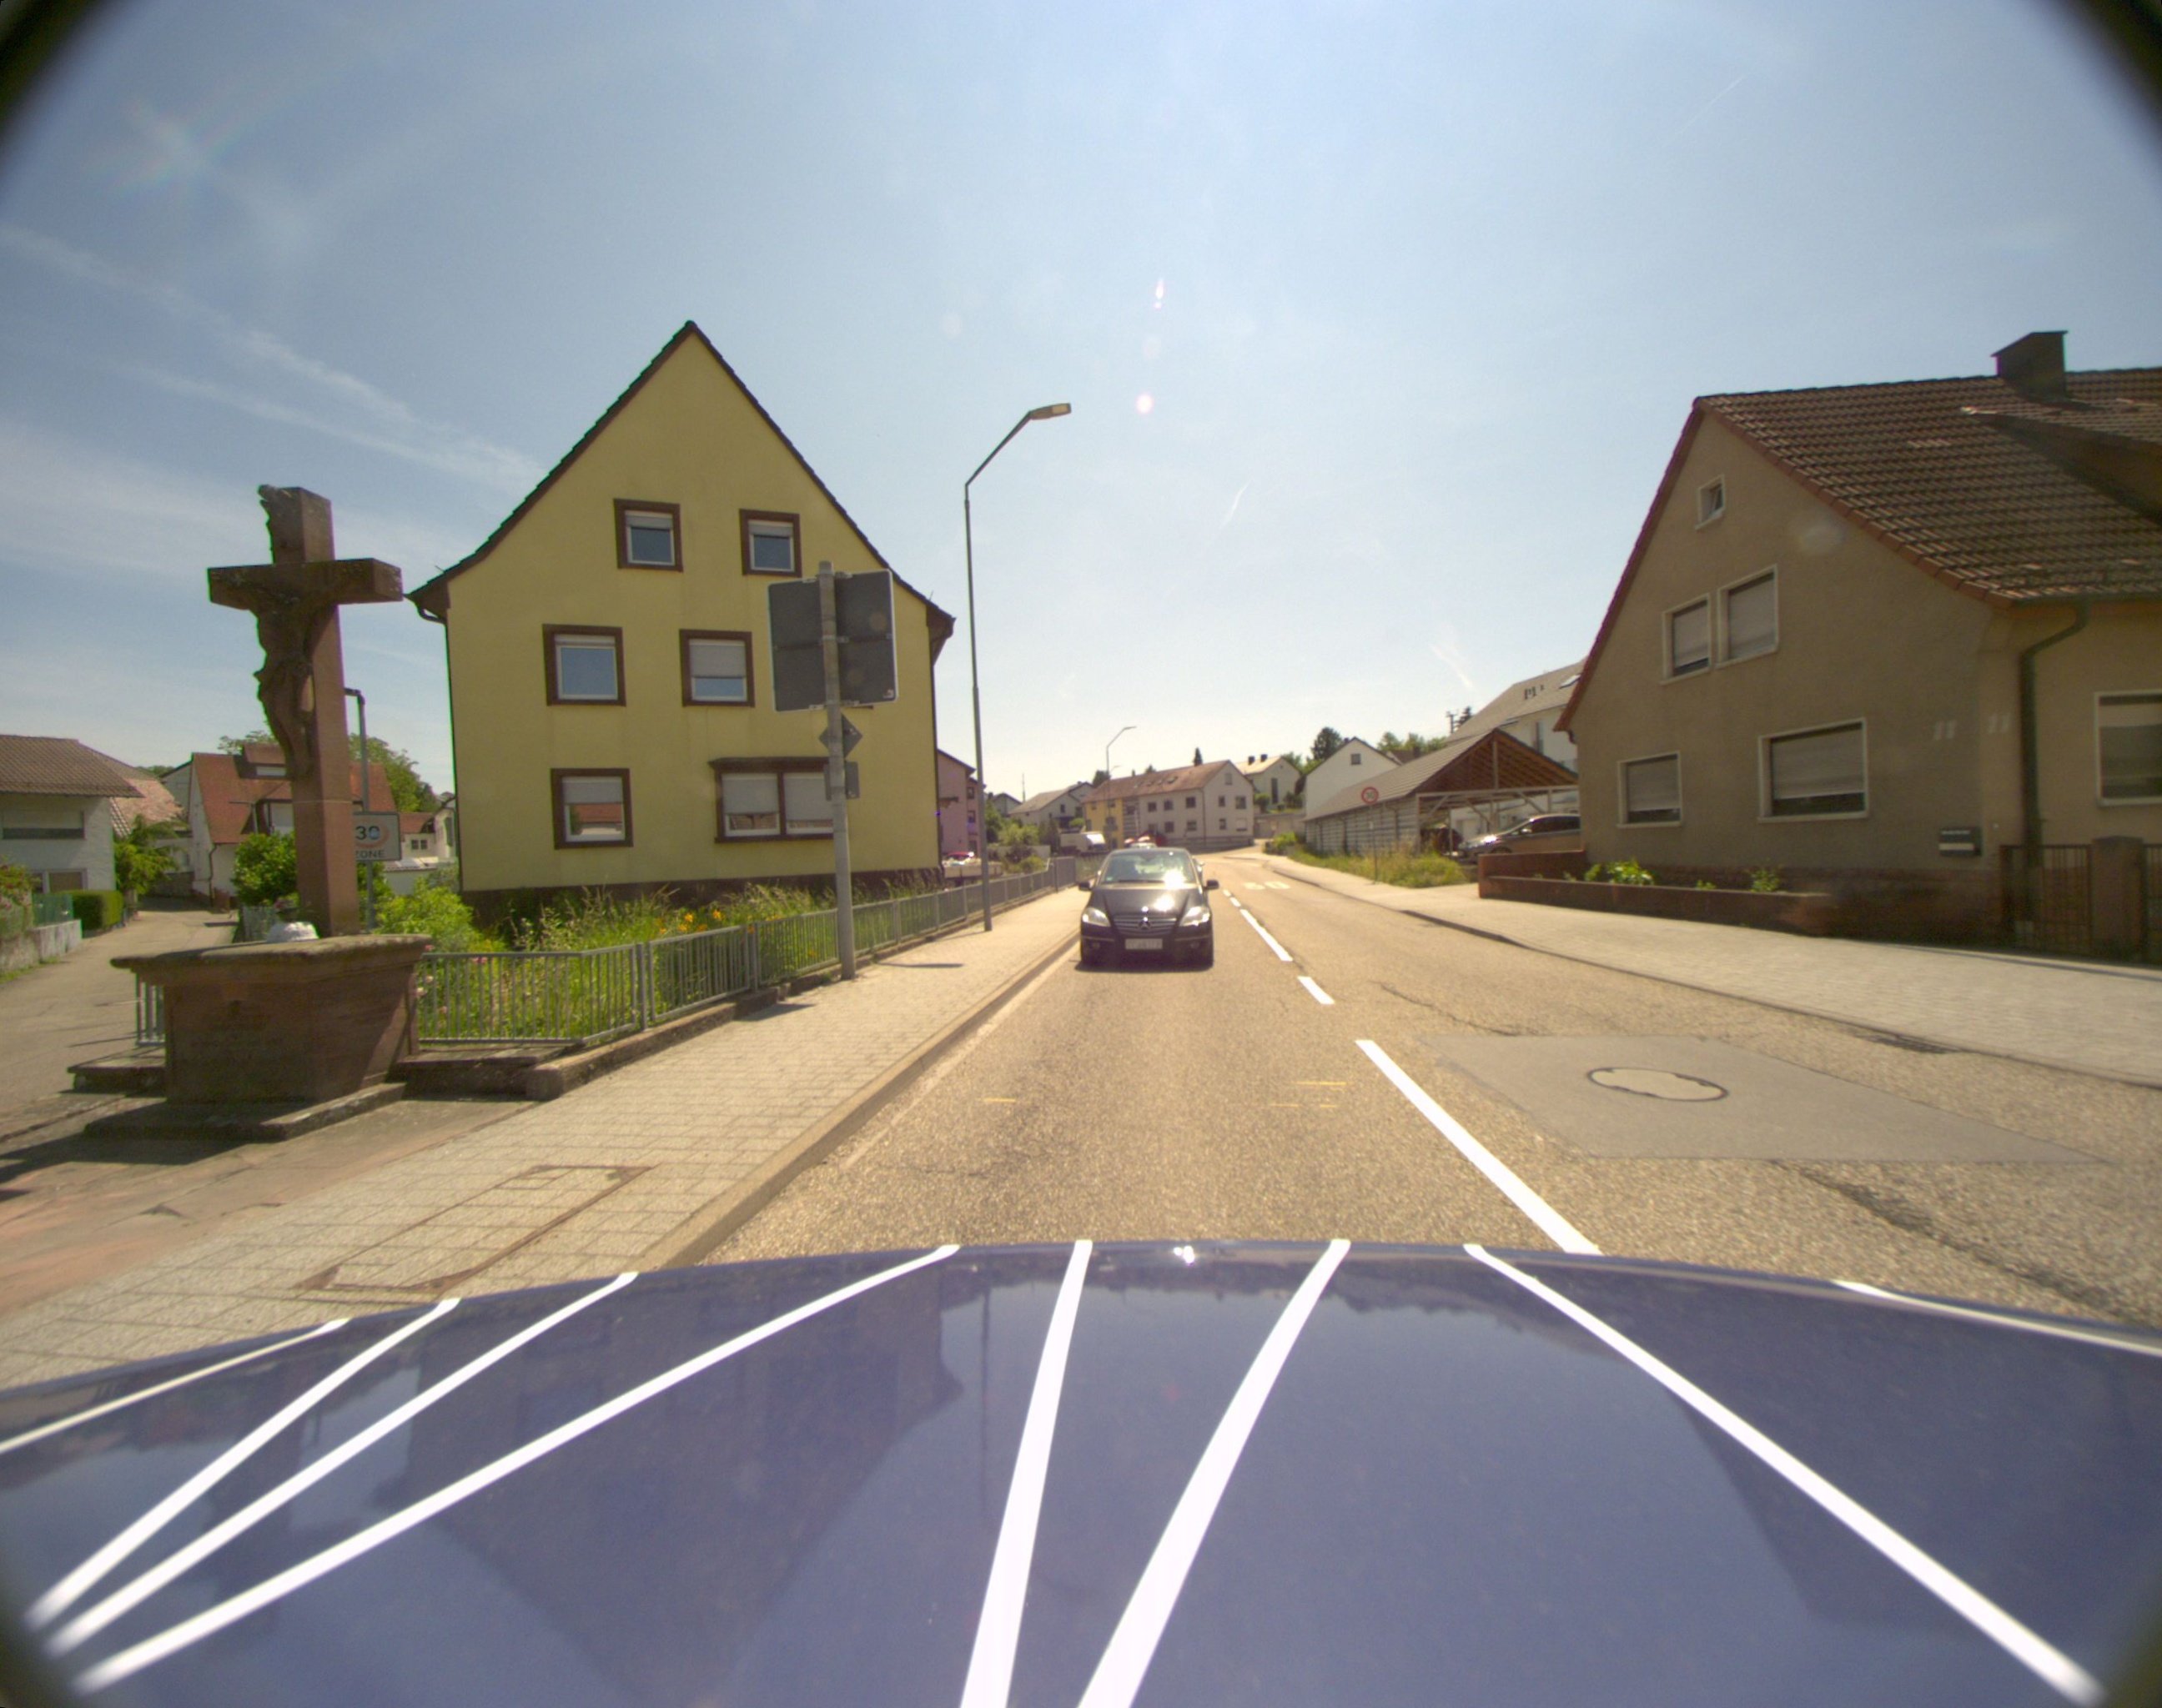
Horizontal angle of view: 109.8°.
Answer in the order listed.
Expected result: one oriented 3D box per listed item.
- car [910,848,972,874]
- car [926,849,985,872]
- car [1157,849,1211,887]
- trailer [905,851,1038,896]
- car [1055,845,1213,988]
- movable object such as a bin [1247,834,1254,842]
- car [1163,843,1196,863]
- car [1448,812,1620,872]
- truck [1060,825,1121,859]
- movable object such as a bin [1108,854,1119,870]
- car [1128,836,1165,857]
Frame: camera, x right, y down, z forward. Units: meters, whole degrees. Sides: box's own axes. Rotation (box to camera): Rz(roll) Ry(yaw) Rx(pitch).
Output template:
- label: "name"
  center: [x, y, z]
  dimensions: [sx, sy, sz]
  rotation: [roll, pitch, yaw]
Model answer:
- label: "car"
  center: [-10.140, 0.487, 54.927]
  dimensions: [4.128, 1.539, 1.848]
  rotation: [-4, 1, -19]
- label: "car"
  center: [-8.746, 0.451, 52.719]
  dimensions: [3.839, 1.477, 1.759]
  rotation: [-2, 1, -15]
- label: "car"
  center: [4.384, 0.556, 31.976]
  dimensions: [1.812, 1.307, 4.003]
  rotation: [-3, 1, 13]
- label: "trailer"
  center: [-4.823, 0.798, 33.408]
  dimensions: [5.368, 1.537, 2.134]
  rotation: [-4, 1, -21]
- label: "car"
  center: [0.960, 0.714, 10.898]
  dimensions: [1.763, 1.583, 4.200]
  rotation: [-3, 0, 10]
- label: "movable object such as a bin"
  center: [20.574, -1.954, 92.160]
  dimensions: [0.601, 0.929, 0.599]
  rotation: [-4, 2, -38]
- label: "car"
  center: [7.284, -0.106, 56.619]
  dimensions: [1.897, 1.368, 3.999]
  rotation: [-3, 1, 1]
- label: "car"
  center: [13.756, -0.360, 23.303]
  dimensions: [4.132, 1.629, 1.866]
  rotation: [-2, 1, 9]
- label: "truck"
  center: [1.043, -1.368, 91.367]
  dimensions: [3.210, 3.579, 8.288]
  rotation: [-4, 1, -31]
- label: "movable object such as a bin"
  center: [2.194, 0.512, 51.182]
  dimensions: [0.566, 1.051, 0.650]
  rotation: [-3, 2, -8]
- label: "car"
  center: [6.272, -0.667, 73.568]
  dimensions: [1.869, 1.897, 5.030]
  rotation: [-3, 0, -14]
